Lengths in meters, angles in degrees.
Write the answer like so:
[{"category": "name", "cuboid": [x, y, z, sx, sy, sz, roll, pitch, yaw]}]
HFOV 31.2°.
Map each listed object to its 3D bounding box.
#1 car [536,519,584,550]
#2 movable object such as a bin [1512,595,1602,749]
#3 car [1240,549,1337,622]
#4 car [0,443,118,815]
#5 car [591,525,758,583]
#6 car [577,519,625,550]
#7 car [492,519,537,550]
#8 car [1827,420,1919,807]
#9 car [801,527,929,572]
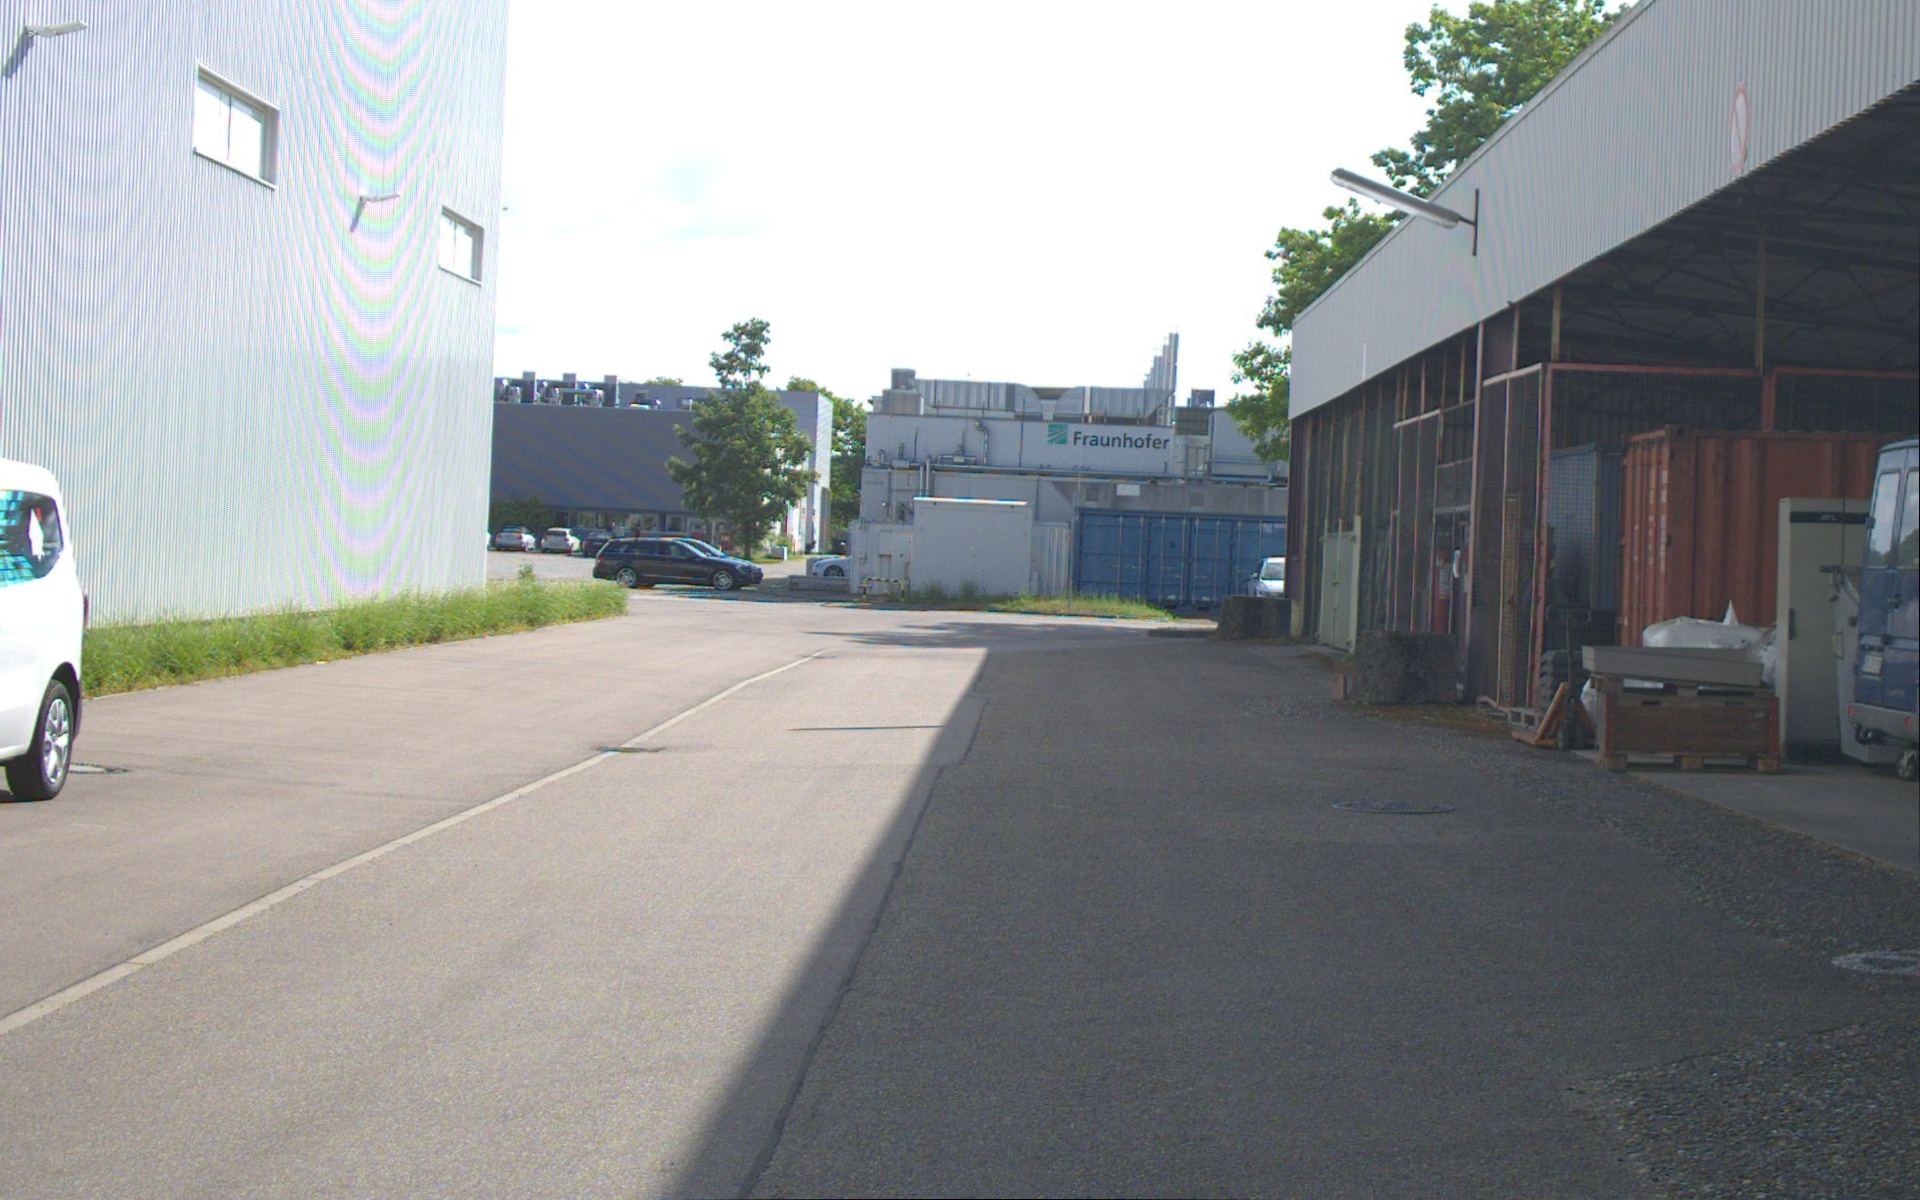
[{"category": "car", "cuboid": [-22.837, -3.725, 196.443, 2.193, 1.730, 4.000, 1, 1, 1]}, {"category": "movable object such as a bin", "cuboid": [4.730, 0.555, 27.301, 0.582, 1.160, 1.238, 2, 1, 5]}, {"category": "car", "cuboid": [8.167, -0.390, 85.735, 1.993, 1.580, 4.173, 2, 2, 1]}, {"category": "car", "cuboid": [-5.646, 0.087, 16.649, 1.890, 1.839, 4.358, 4, 1, 1]}, {"category": "car", "cuboid": [-8.197, -1.325, 98.915, 4.526, 1.503, 1.909, 2, 1, 3]}, {"category": "car", "cuboid": [-20.316, -3.706, 194.665, 2.193, 1.730, 4.000, 1, 1, 1]}, {"category": "car", "cuboid": [-25.430, -3.724, 196.167, 1.993, 1.730, 4.000, 1, 1, 1]}, {"category": "car", "cuboid": [8.197, 0.152, 21.522, 4.979, 2.317, 2.000, 2, 1, 2]}, {"category": "car", "cuboid": [-3.467, -1.859, 126.394, 4.526, 1.503, 1.909, 2, 1, 2]}]
